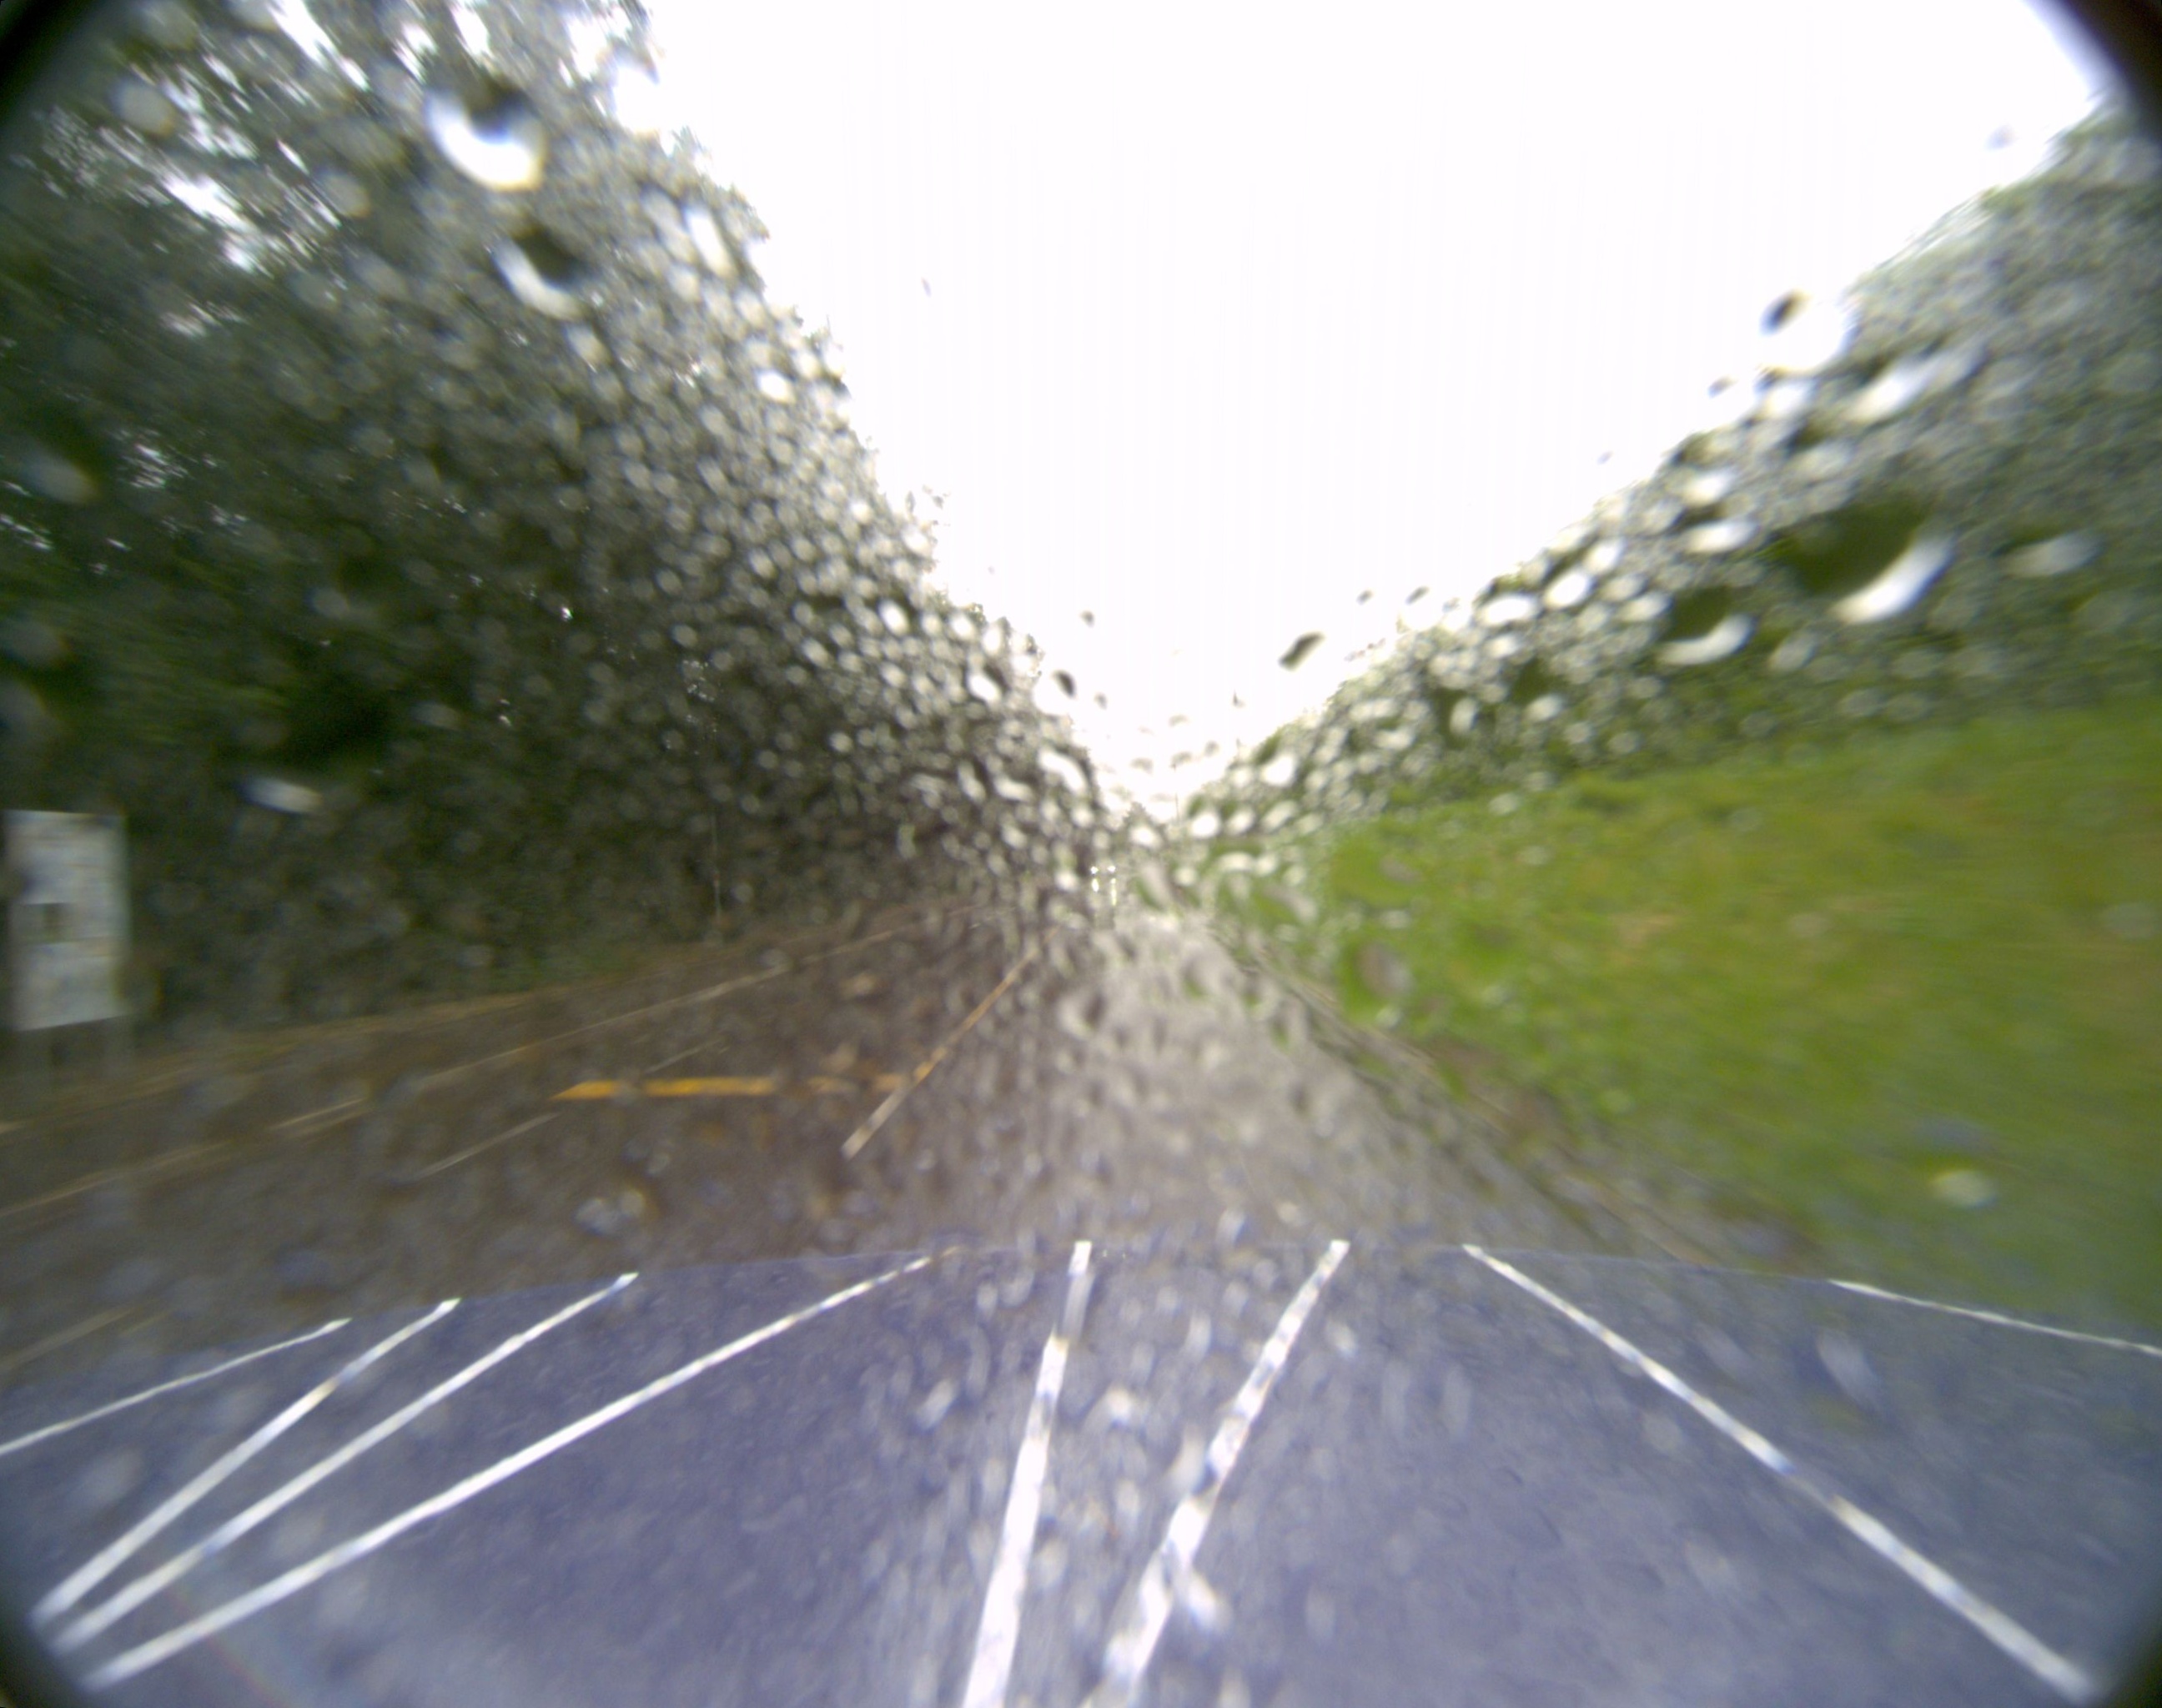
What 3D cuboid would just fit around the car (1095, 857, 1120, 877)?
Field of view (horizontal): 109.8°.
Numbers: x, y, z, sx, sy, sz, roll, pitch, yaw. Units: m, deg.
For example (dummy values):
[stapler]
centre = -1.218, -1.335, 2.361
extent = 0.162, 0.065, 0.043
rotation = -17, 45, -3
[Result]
[car]
centre = 2.177, 1.023, 61.949
extent = 1.798, 1.543, 4.002
rotation = -1, 0, 6
